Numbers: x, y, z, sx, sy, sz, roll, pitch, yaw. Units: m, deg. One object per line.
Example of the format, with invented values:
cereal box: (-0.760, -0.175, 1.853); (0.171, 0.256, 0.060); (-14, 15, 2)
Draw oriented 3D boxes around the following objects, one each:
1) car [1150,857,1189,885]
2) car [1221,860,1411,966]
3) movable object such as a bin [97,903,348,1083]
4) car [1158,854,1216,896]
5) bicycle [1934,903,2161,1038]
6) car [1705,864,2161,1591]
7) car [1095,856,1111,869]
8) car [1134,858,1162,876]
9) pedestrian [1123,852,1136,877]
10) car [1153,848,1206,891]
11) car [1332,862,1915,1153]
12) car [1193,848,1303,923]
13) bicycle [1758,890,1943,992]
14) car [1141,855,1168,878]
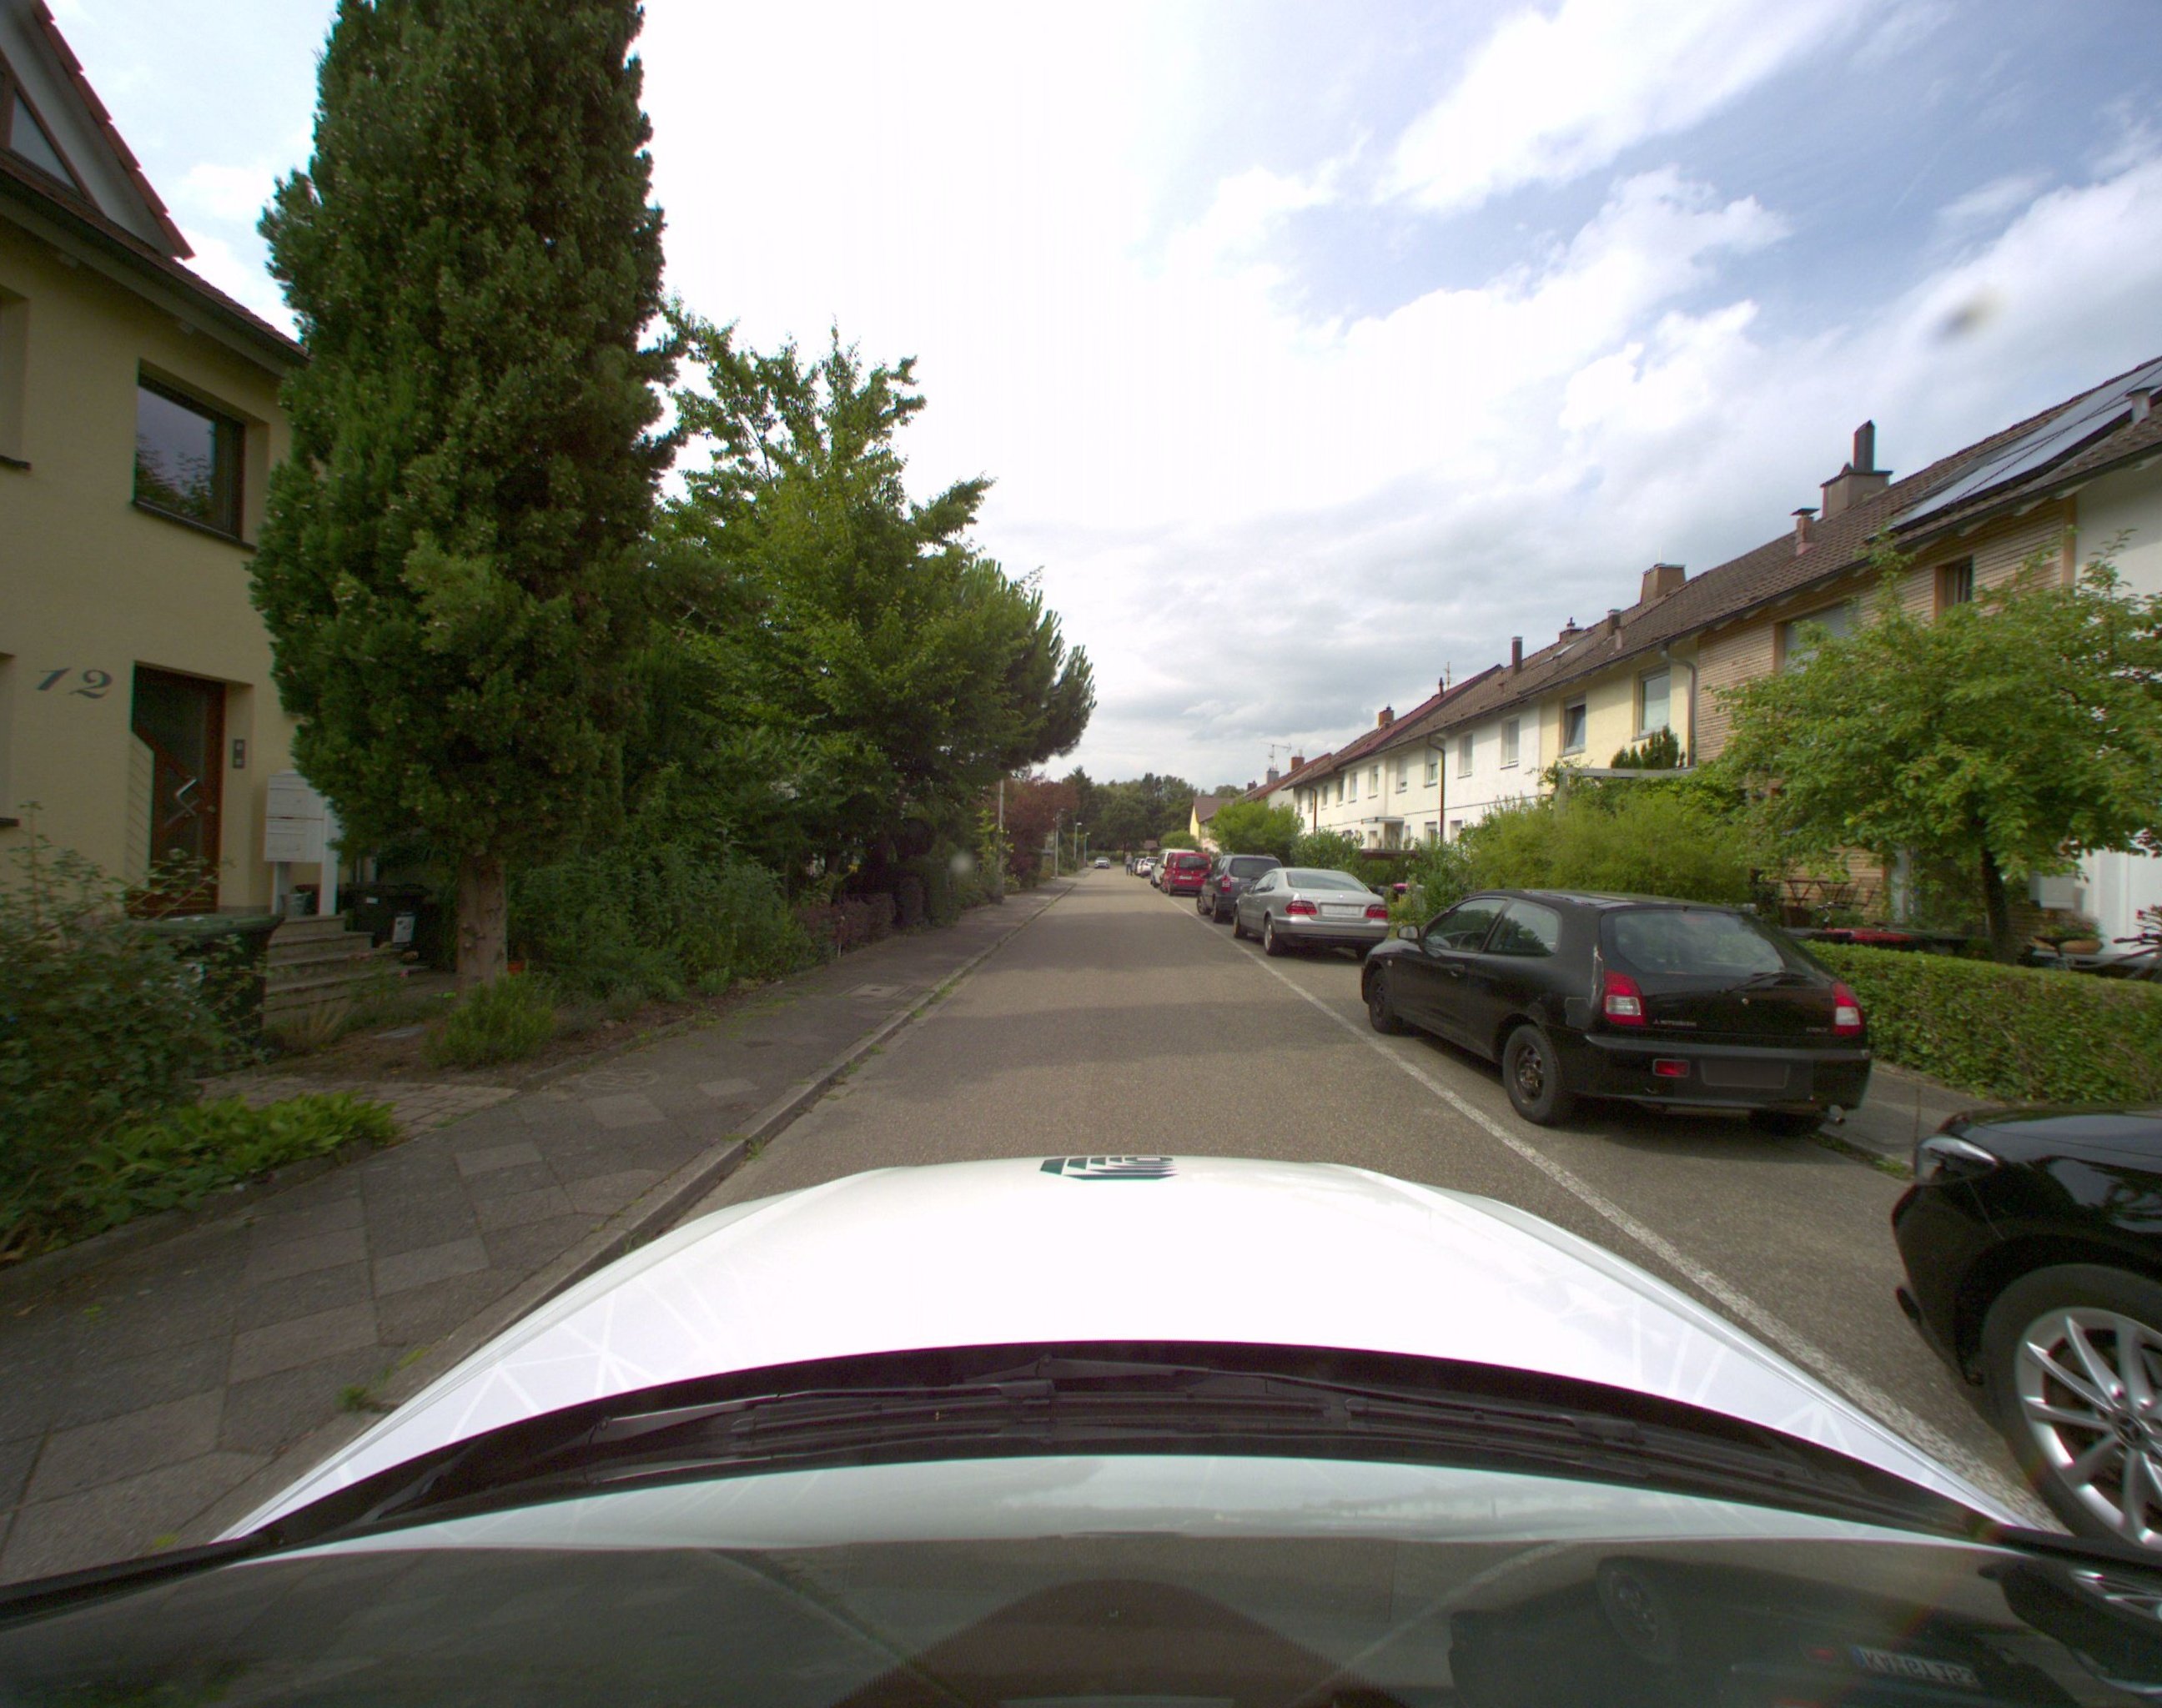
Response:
car: (4.833, 0.917, 44.824); (1.893, 1.459, 4.132); (1, 0, 3)
car: (3.804, 0.869, 14.112); (1.862, 1.407, 4.767); (3, 0, 0)
movable object such as a bin: (-5.187, 0.807, 4.977); (0.709, 0.956, 0.751); (1, 0, 1)
car: (4.443, 0.829, 34.723); (1.805, 1.651, 4.408); (1, 0, -1)
bicycle: (8.717, 0.967, 7.049); (0.661, 0.982, 1.742); (1, 0, -17)
car: (3.055, 0.785, 0.597); (1.742, 1.467, 4.649); (1, 0, 2)
car: (2.807, 1.070, 104.285); (1.926, 1.556, 4.637); (1, 0, 3)
car: (5.476, 1.021, 66.925); (1.832, 1.413, 4.635); (1, 0, -1)
pedestrian: (3.953, 0.822, 66.348); (0.910, 2.014, 0.950); (1, 0, -2)
car: (4.706, 0.734, 39.721); (2.014, 1.947, 4.747); (1, 0, 0)
car: (3.430, 0.813, 6.250); (1.727, 1.428, 4.125); (1, 0, 0)
car: (4.058, 0.719, 20.552); (1.861, 1.653, 4.463); (1, 0, 0)
bicycle: (8.297, 0.924, 8.815); (1.530, 1.023, 0.377); (1, 0, 7)
car: (5.311, 0.910, 59.438); (1.707, 1.543, 3.976); (3, 0, 2)
